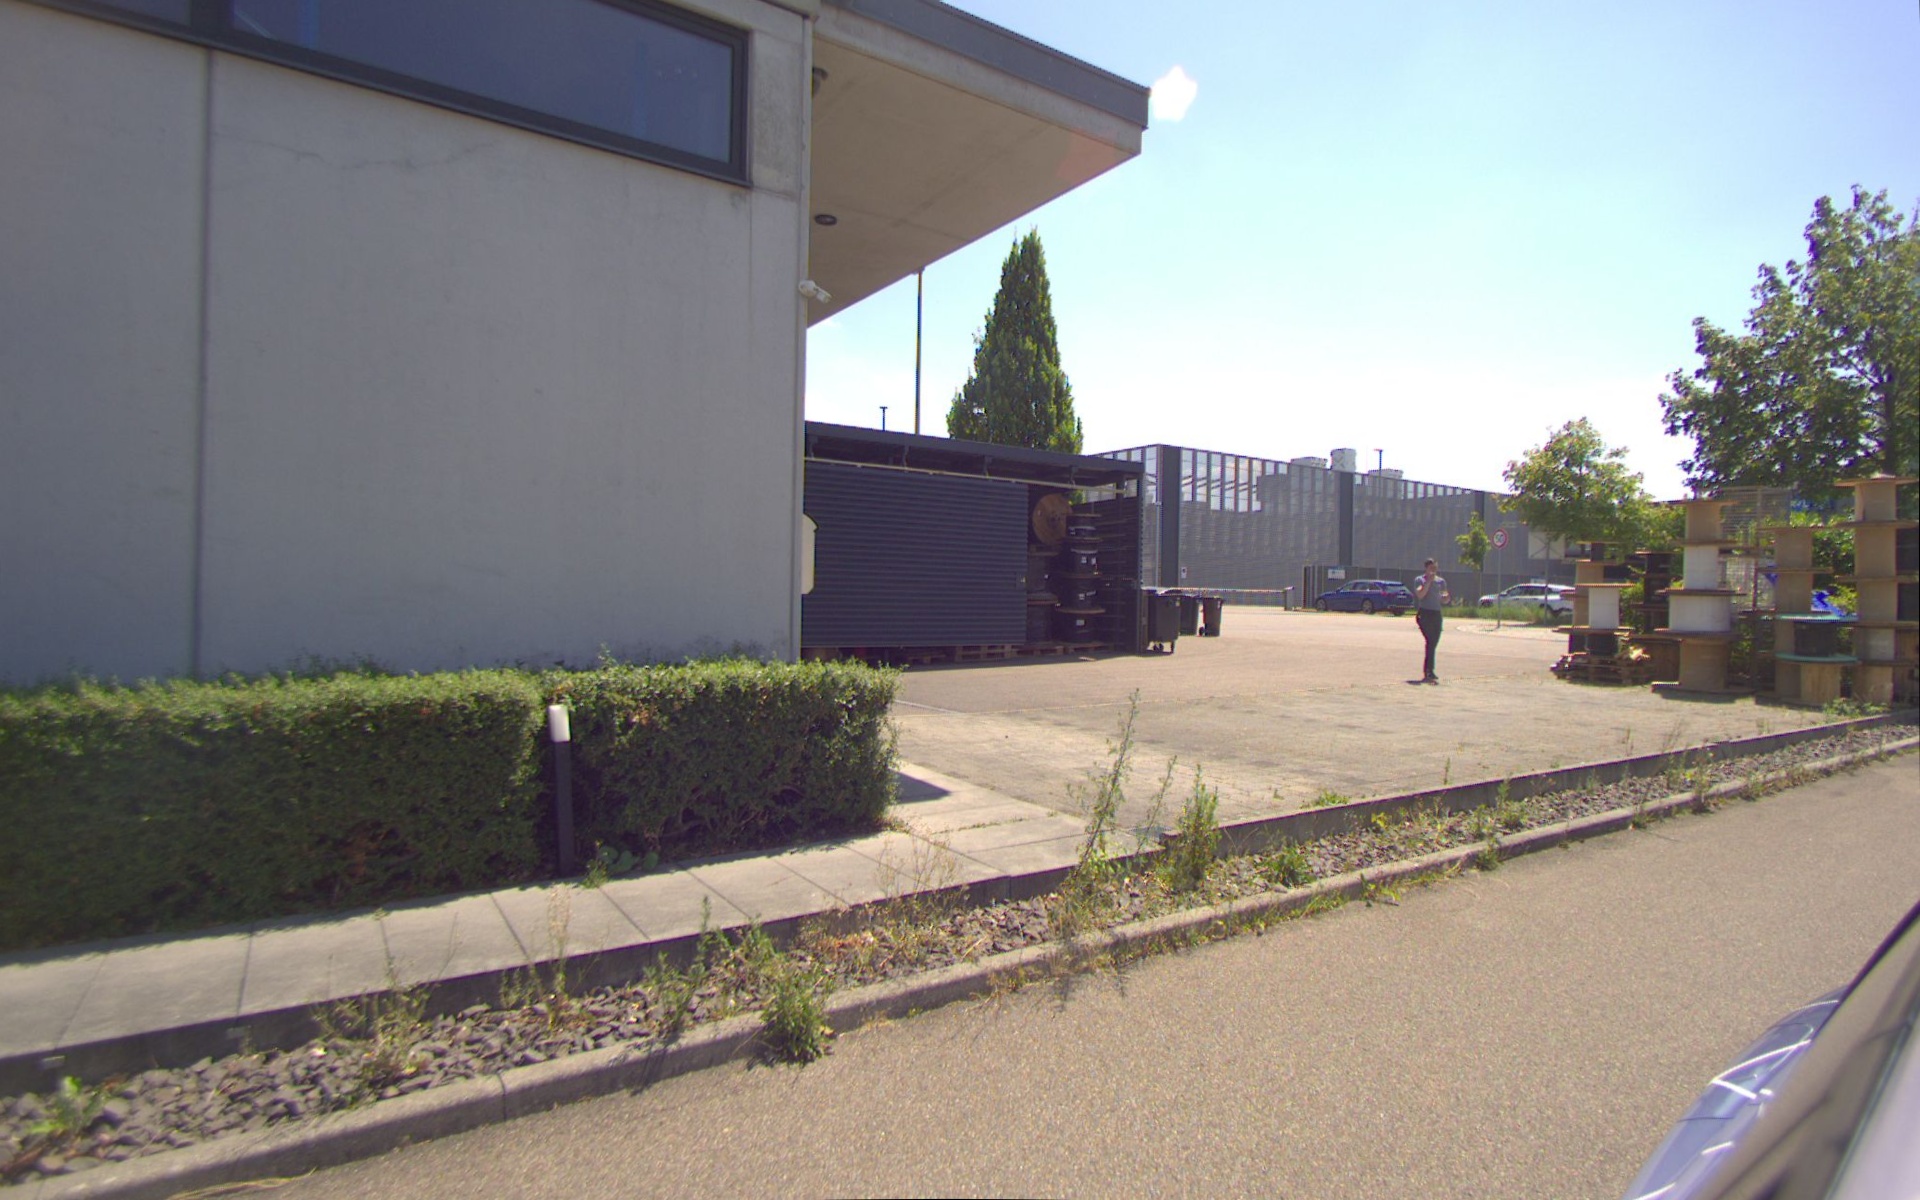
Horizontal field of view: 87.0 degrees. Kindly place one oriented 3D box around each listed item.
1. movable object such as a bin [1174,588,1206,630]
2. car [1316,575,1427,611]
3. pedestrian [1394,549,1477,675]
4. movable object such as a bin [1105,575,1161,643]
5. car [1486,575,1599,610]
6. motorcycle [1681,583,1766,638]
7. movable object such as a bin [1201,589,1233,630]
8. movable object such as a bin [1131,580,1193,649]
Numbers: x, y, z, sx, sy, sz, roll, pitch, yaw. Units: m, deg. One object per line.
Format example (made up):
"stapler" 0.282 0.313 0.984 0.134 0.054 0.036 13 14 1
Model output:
"movable object such as a bin" 5.420 0.205 23.813 0.581 0.929 0.541 1 2 32
"car" 17.409 -0.349 43.079 1.820 1.427 4.456 0 1 -21
"pedestrian" 6.931 0.165 14.793 0.793 1.790 0.769 0 1 -4
"movable object such as a bin" 3.441 0.164 20.150 0.785 1.314 0.757 -1 2 -25
"car" 26.545 -0.360 46.295 1.743 1.494 4.425 0 2 -18
"motorcycle" 18.914 0.237 25.035 2.782 1.275 0.874 -1 2 -36
"movable object such as a bin" 5.959 0.210 23.456 0.581 0.929 0.541 1 2 32
"movable object such as a bin" 3.831 0.256 19.245 0.785 1.265 0.878 -1 2 -25
